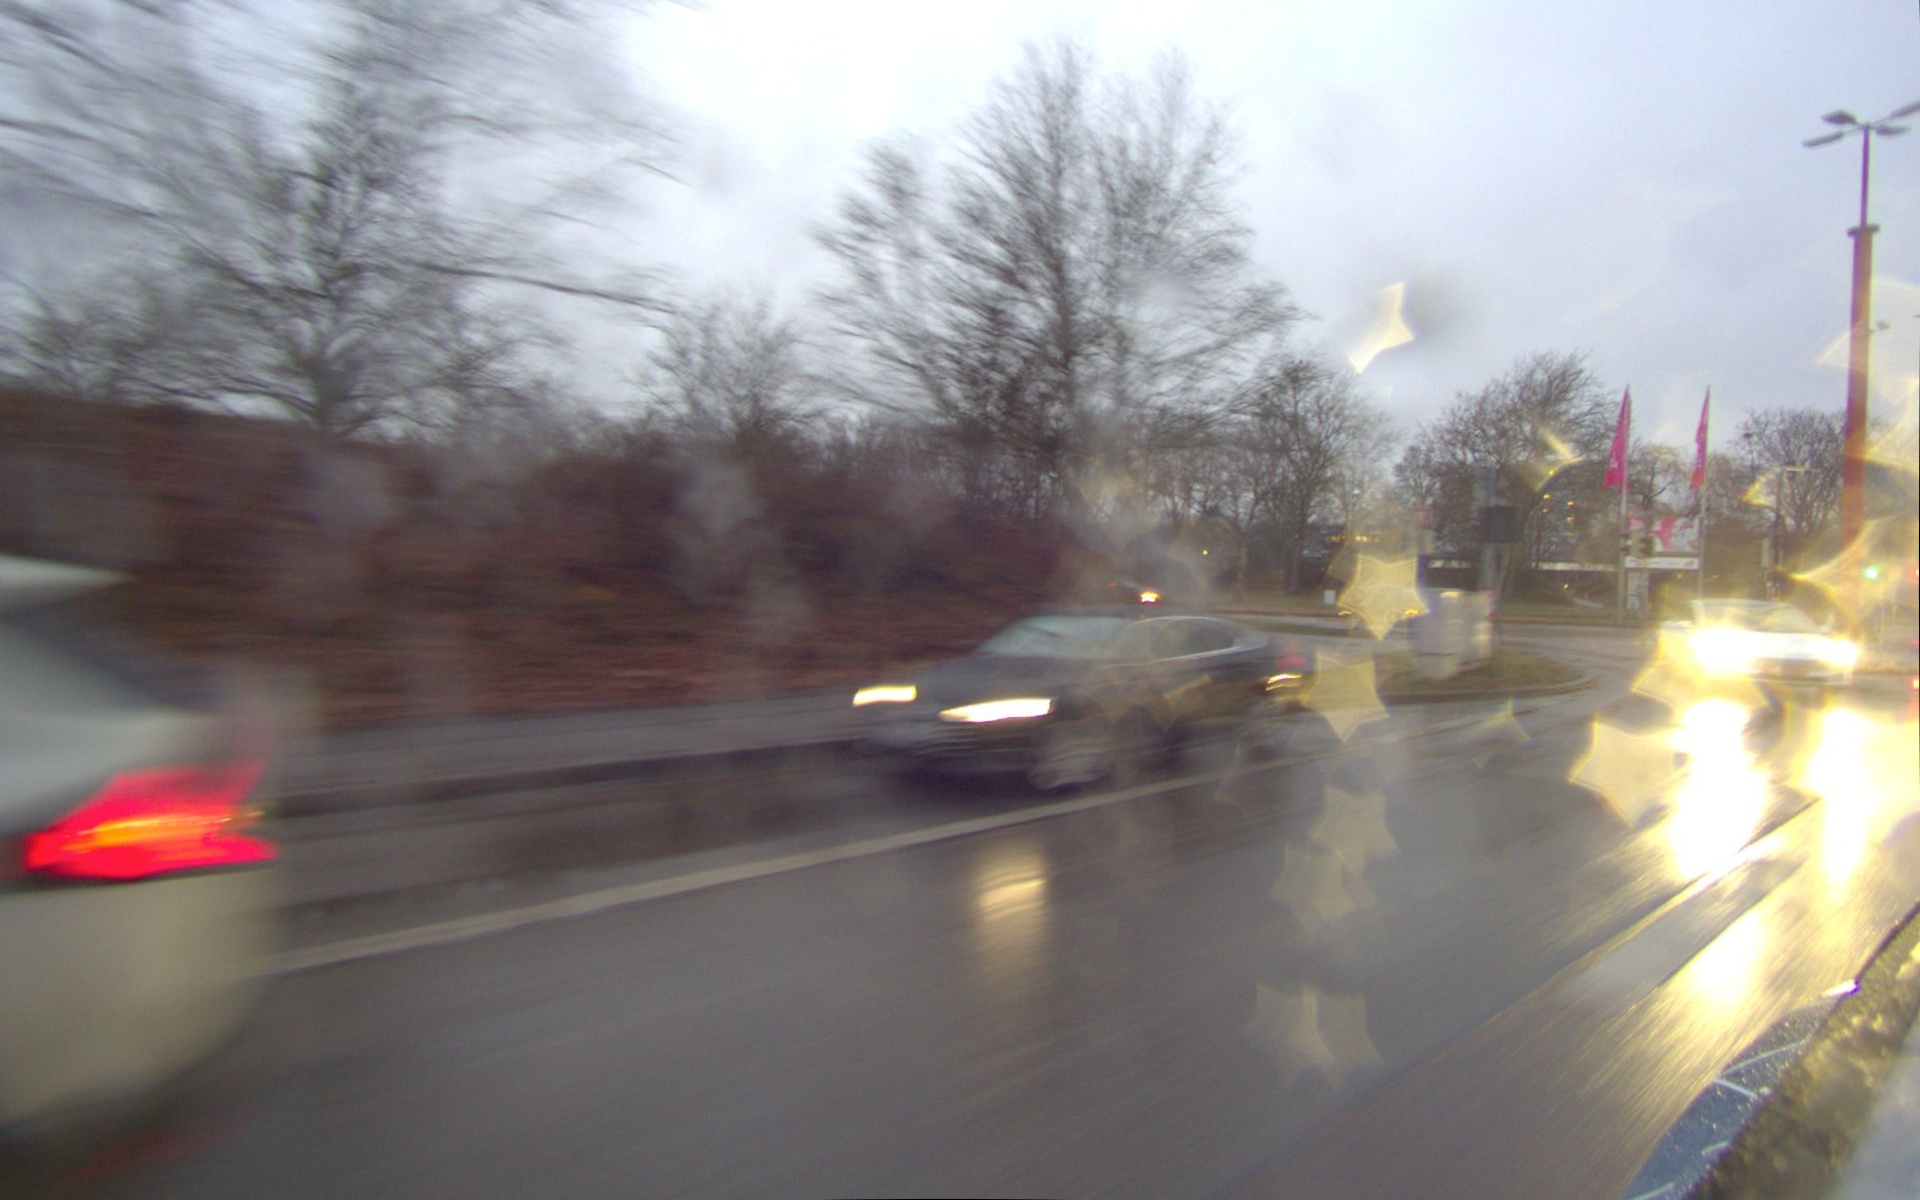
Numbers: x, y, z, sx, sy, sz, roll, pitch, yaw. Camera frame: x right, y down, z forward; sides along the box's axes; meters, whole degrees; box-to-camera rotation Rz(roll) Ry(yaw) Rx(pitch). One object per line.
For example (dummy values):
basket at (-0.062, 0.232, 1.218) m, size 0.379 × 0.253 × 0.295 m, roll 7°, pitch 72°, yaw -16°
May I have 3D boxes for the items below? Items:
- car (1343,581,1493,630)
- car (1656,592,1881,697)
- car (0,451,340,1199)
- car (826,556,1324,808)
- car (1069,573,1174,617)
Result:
car at (14.051, 0.135, 31.252) m, size 1.605 × 1.326 × 4.003 m, roll 0°, pitch 2°, yaw -32°
car at (13.297, 0.616, 17.002) m, size 1.863 × 1.393 × 4.714 m, roll 1°, pitch 2°, yaw 25°
car at (-3.328, 0.580, 1.028) m, size 4.338 × 1.638 × 1.817 m, roll -1°, pitch 2°, yaw -44°
car at (1.221, 0.500, 8.983) m, size 4.472 × 1.639 × 1.969 m, roll -1°, pitch 3°, yaw -44°
car at (6.486, -0.231, 40.773) m, size 3.866 × 1.655 × 1.637 m, roll 2°, pitch 2°, yaw 36°
